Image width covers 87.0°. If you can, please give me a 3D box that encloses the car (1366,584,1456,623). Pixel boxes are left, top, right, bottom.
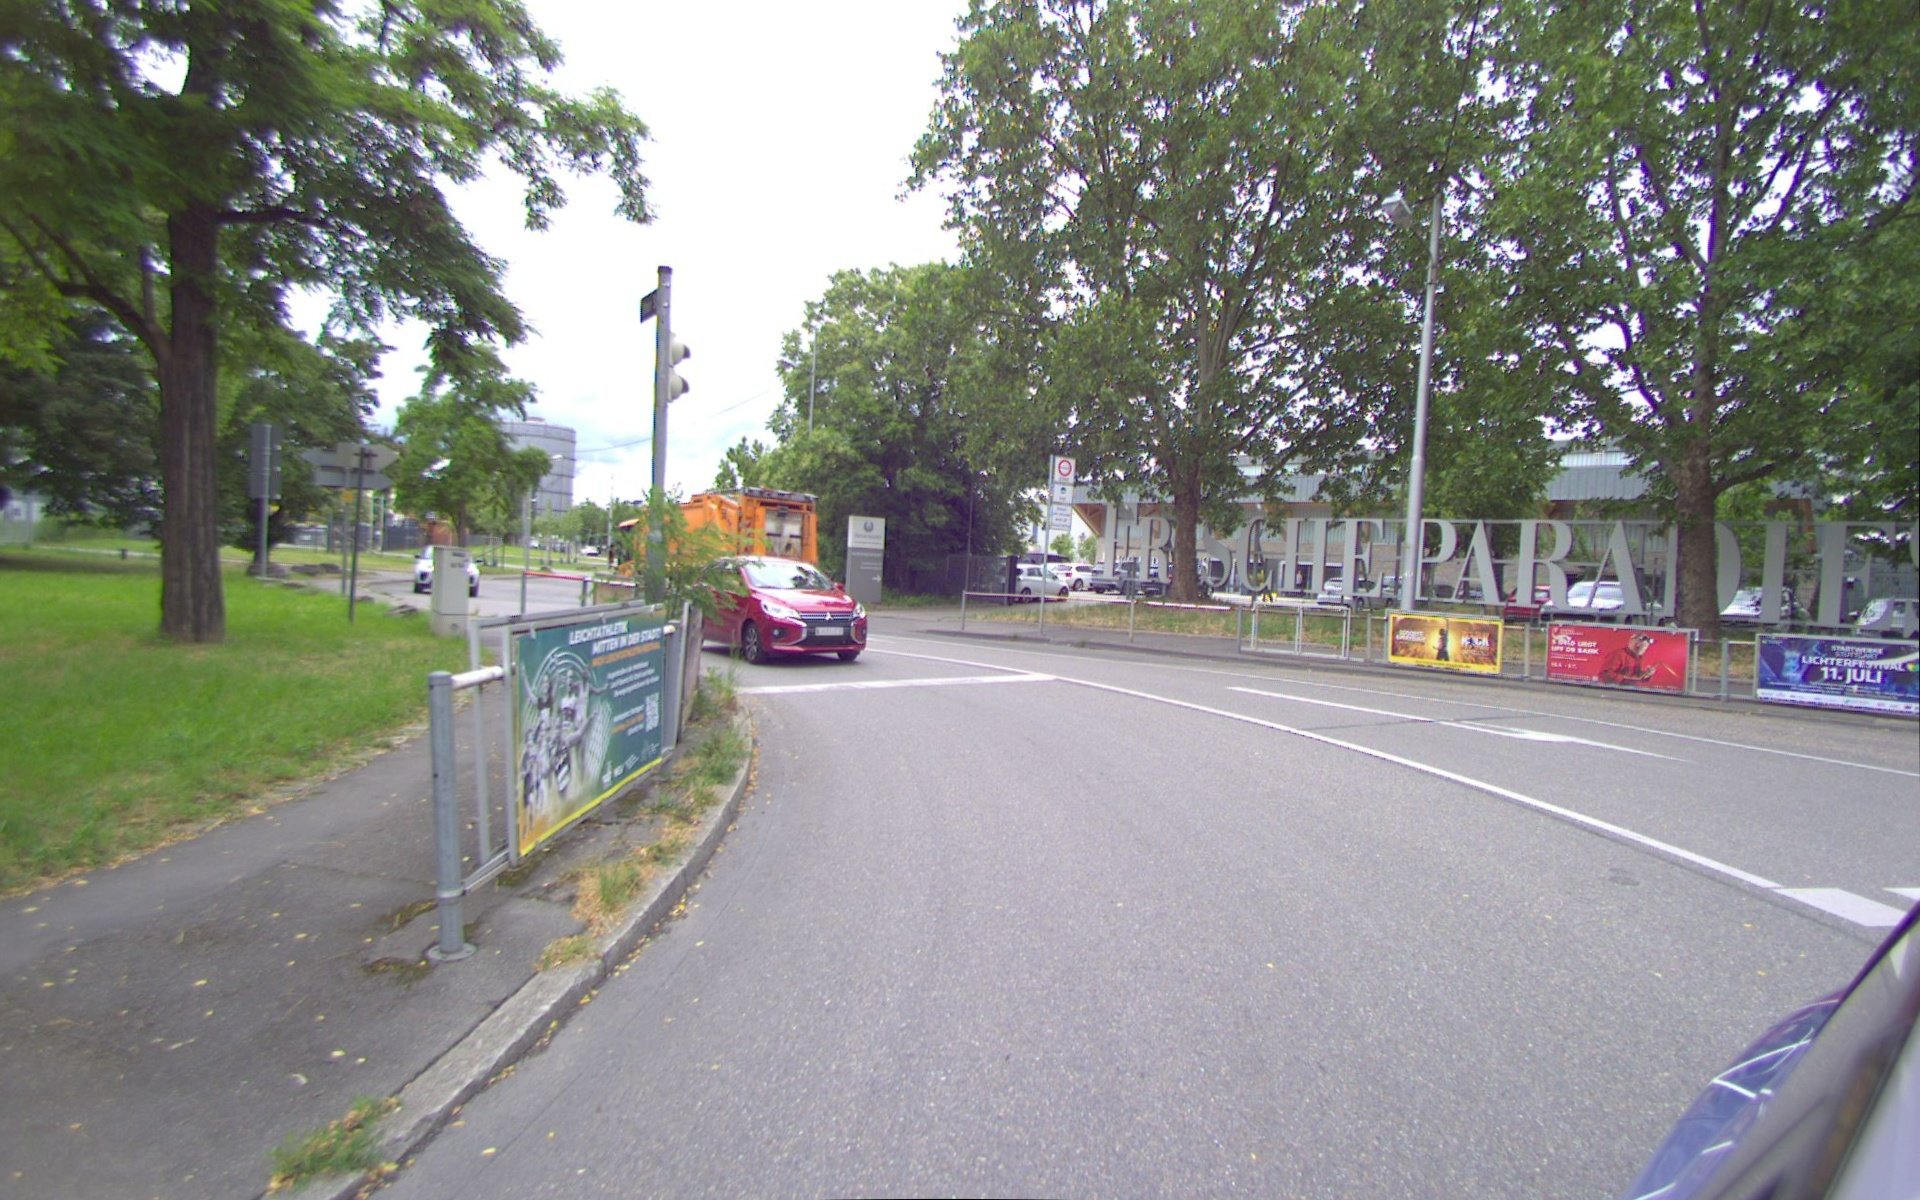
[{"bbox_3d":[20.494,0.181,45.933,4.560,1.580,1.997,2,2,-42],"label":"car"}]

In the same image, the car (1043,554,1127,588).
[{"bbox_3d":[6.787,-1.539,54.645,4.560,1.577,1.997,2,2,-42],"label":"car"}]

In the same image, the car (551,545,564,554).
[{"bbox_3d":[-76.161,-9.488,191.426,2.005,1.555,3.950,4,1,-26],"label":"car"}]

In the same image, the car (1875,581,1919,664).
[{"bbox_3d":[20.891,0.537,21.626,3.932,1.633,1.589,2,2,-43],"label":"car"}]

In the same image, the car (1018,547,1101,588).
[{"bbox_3d":[5.654,-1.842,57.213,4.560,2.038,1.997,2,2,-42],"label":"car"}]

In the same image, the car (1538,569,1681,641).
[{"bbox_3d":[17.012,0.150,26.413,4.445,1.633,1.882,3,2,-41],"label":"car"}]

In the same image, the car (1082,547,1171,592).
[{"bbox_3d":[8.552,-1.537,51.825,4.560,2.038,1.997,2,2,-42],"label":"car"}]

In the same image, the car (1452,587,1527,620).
[{"bbox_3d":[28.076,0.198,53.567,4.560,1.580,1.997,2,2,-42],"label":"car"}]

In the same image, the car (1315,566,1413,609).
[{"bbox_3d":[17.070,-0.512,42.690,4.560,1.580,1.997,2,2,-42],"label":"car"}]

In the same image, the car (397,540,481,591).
[{"bbox_3d":[-17.382,-1.189,33.657,2.009,1.554,3.944,-2,4,-34],"label":"car"}]

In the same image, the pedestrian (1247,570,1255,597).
[{"bbox_3d":[19.224,-1.090,66.867,0.338,1.787,0.434,4,0,25],"label":"pedestrian"}]

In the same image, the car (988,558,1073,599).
[{"bbox_3d":[3.017,-0.895,42.781,1.477,1.523,3.670,5,2,44],"label":"car"}]

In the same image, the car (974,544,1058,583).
[{"bbox_3d":[3.362,-2.172,60.379,5.014,2.023,1.997,2,2,-42],"label":"car"}]

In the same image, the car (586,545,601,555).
[{"bbox_3d":[-62.301,-8.484,171.945,2.005,1.555,3.950,4,1,-26],"label":"car"}]

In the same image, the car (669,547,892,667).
[{"bbox_3d":[-2.760,0.003,14.906,1.701,1.483,3.835,0,3,-36],"label":"car"}]

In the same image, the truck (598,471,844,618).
[{"bbox_3d":[-7.436,-1.554,29.837,2.747,3.570,10.414,2,1,-39],"label":"truck"}]

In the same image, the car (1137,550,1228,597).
[{"bbox_3d":[10.911,-1.285,49.515,4.560,2.038,1.997,2,2,-42],"label":"car"}]

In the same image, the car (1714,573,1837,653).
[{"bbox_3d":[19.100,0.328,23.643,4.244,1.633,1.589,2,2,-43],"label":"car"}]
